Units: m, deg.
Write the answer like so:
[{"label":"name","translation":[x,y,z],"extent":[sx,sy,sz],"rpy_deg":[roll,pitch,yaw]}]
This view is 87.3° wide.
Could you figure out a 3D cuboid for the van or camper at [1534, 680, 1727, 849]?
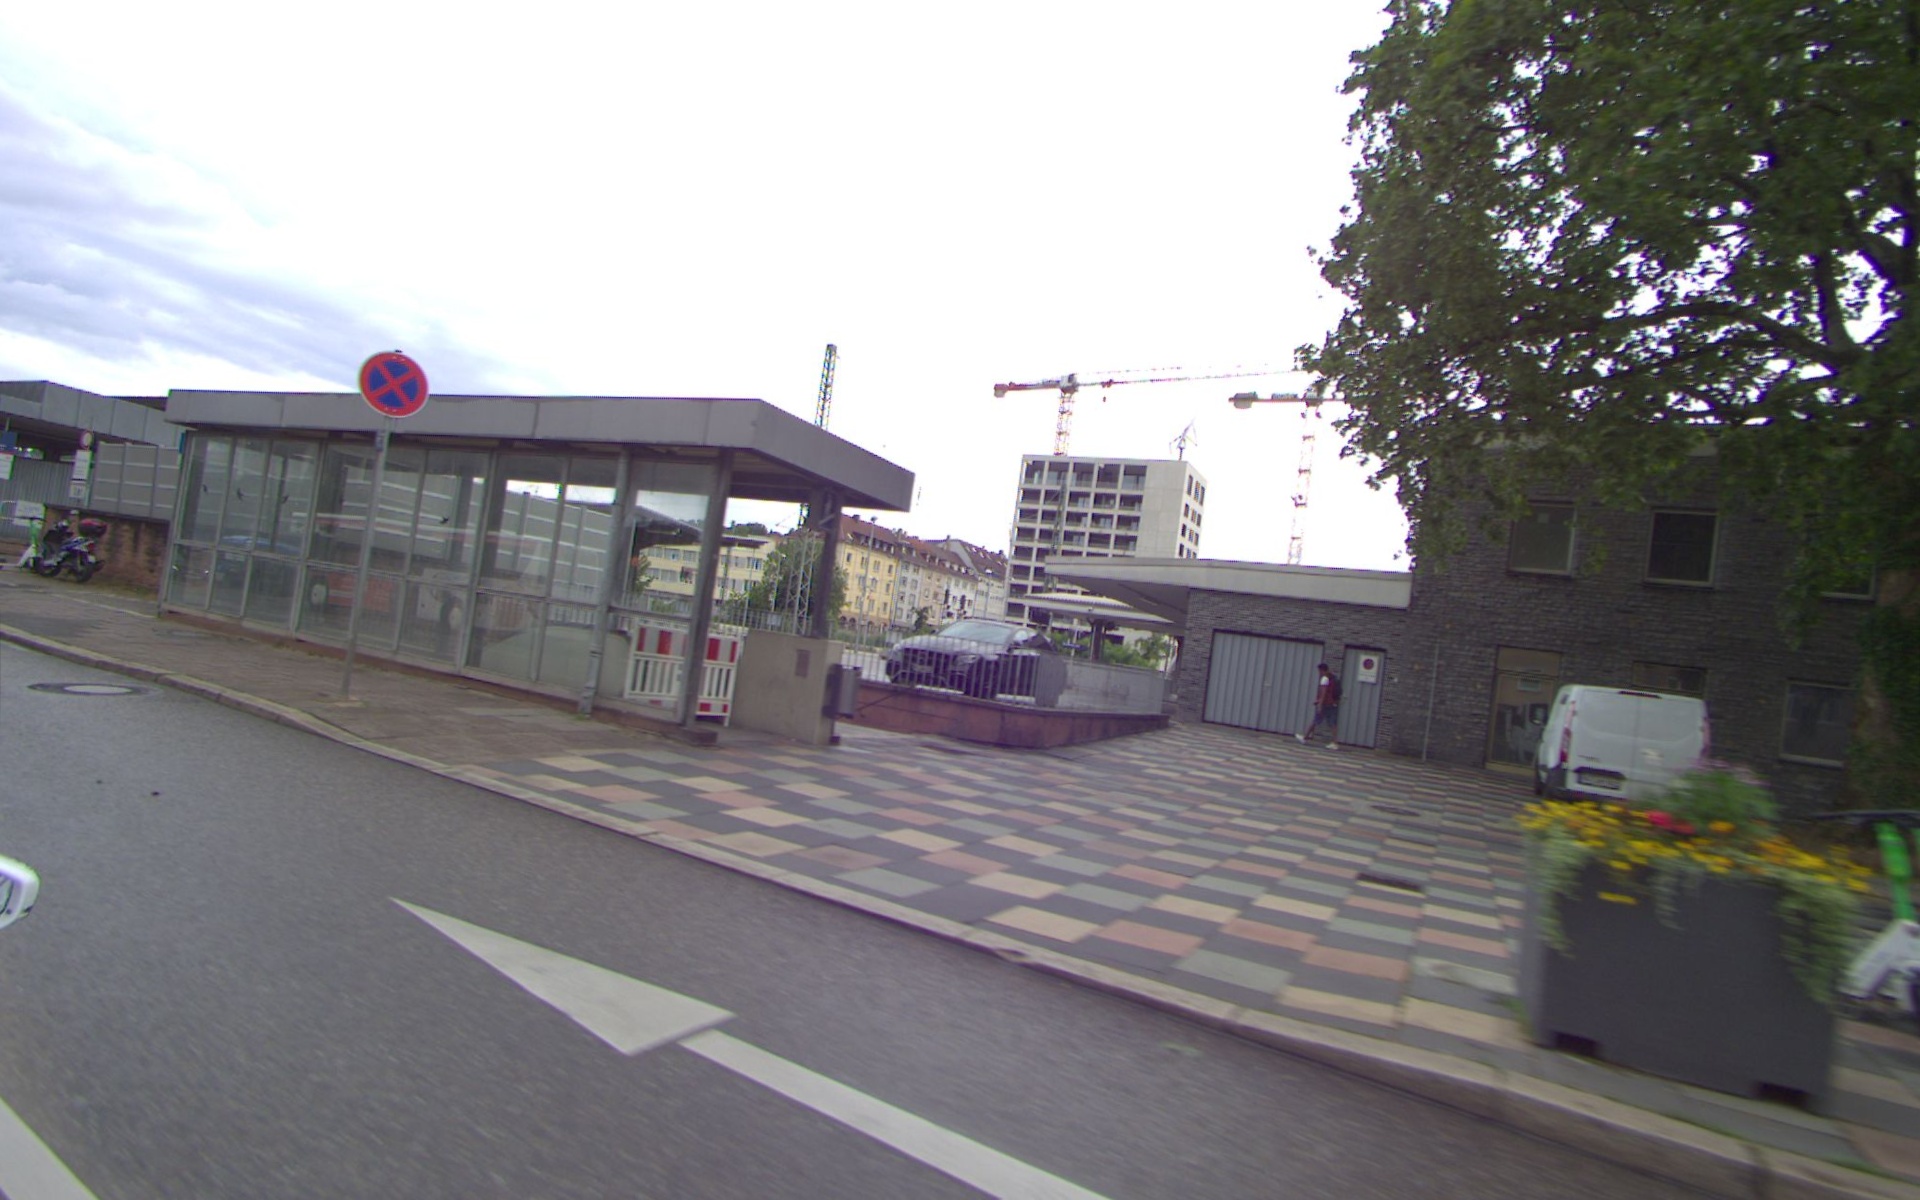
[{"label":"van or camper","translation":[10.328,2.437,15.841],"extent":[1.987,2.014,4.288],"rpy_deg":[7,-2,29]}]

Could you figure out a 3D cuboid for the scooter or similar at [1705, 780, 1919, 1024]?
[{"label":"scooter or similar","translation":[5.540,1.793,5.942],"extent":[1.639,1.167,1.068],"rpy_deg":[6,-4,31]}]

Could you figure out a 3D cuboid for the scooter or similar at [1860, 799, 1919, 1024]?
[{"label":"scooter or similar","translation":[5.600,1.746,5.214],"extent":[0.410,1.167,1.255],"rpy_deg":[10,-4,-27]}]

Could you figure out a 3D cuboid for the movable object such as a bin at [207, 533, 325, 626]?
[{"label":"movable object such as a bin","translation":[-11.615,-0.337,16.853],"extent":[1.295,1.354,1.036],"rpy_deg":[7,-1,29]}]

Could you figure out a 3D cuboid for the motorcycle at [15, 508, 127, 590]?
[{"label":"motorcycle","translation":[-17.753,-1.022,20.072],"extent":[2.415,1.363,0.793],"rpy_deg":[6,-1,29]}]

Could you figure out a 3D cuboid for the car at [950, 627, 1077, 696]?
[{"label":"car","translation":[1.911,2.142,34.184],"extent":[2.075,1.896,4.691],"rpy_deg":[7,-2,33]}]

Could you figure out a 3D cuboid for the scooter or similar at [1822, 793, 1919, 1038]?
[{"label":"scooter or similar","translation":[5.217,1.678,5.004],"extent":[0.410,1.167,1.255],"rpy_deg":[10,-3,-27]}]

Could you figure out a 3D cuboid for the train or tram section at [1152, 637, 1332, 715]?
[{"label":"train or tram section","translation":[18.416,4.956,66.028],"extent":[10.741,3.645,2.747],"rpy_deg":[6,-2,28]}]

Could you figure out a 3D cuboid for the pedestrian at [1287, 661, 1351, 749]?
[{"label":"pedestrian","translation":[7.884,2.298,22.086],"extent":[0.981,1.768,0.878],"rpy_deg":[7,-1,31]}]

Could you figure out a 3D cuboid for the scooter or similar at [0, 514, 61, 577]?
[{"label":"scooter or similar","translation":[-19.729,-1.172,20.951],"extent":[1.682,1.166,0.495],"rpy_deg":[7,-1,11]}]

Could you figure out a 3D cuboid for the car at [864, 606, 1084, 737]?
[{"label":"car","translation":[0.438,1.357,18.696],"extent":[2.072,1.896,4.698],"rpy_deg":[7,-2,27]}]
